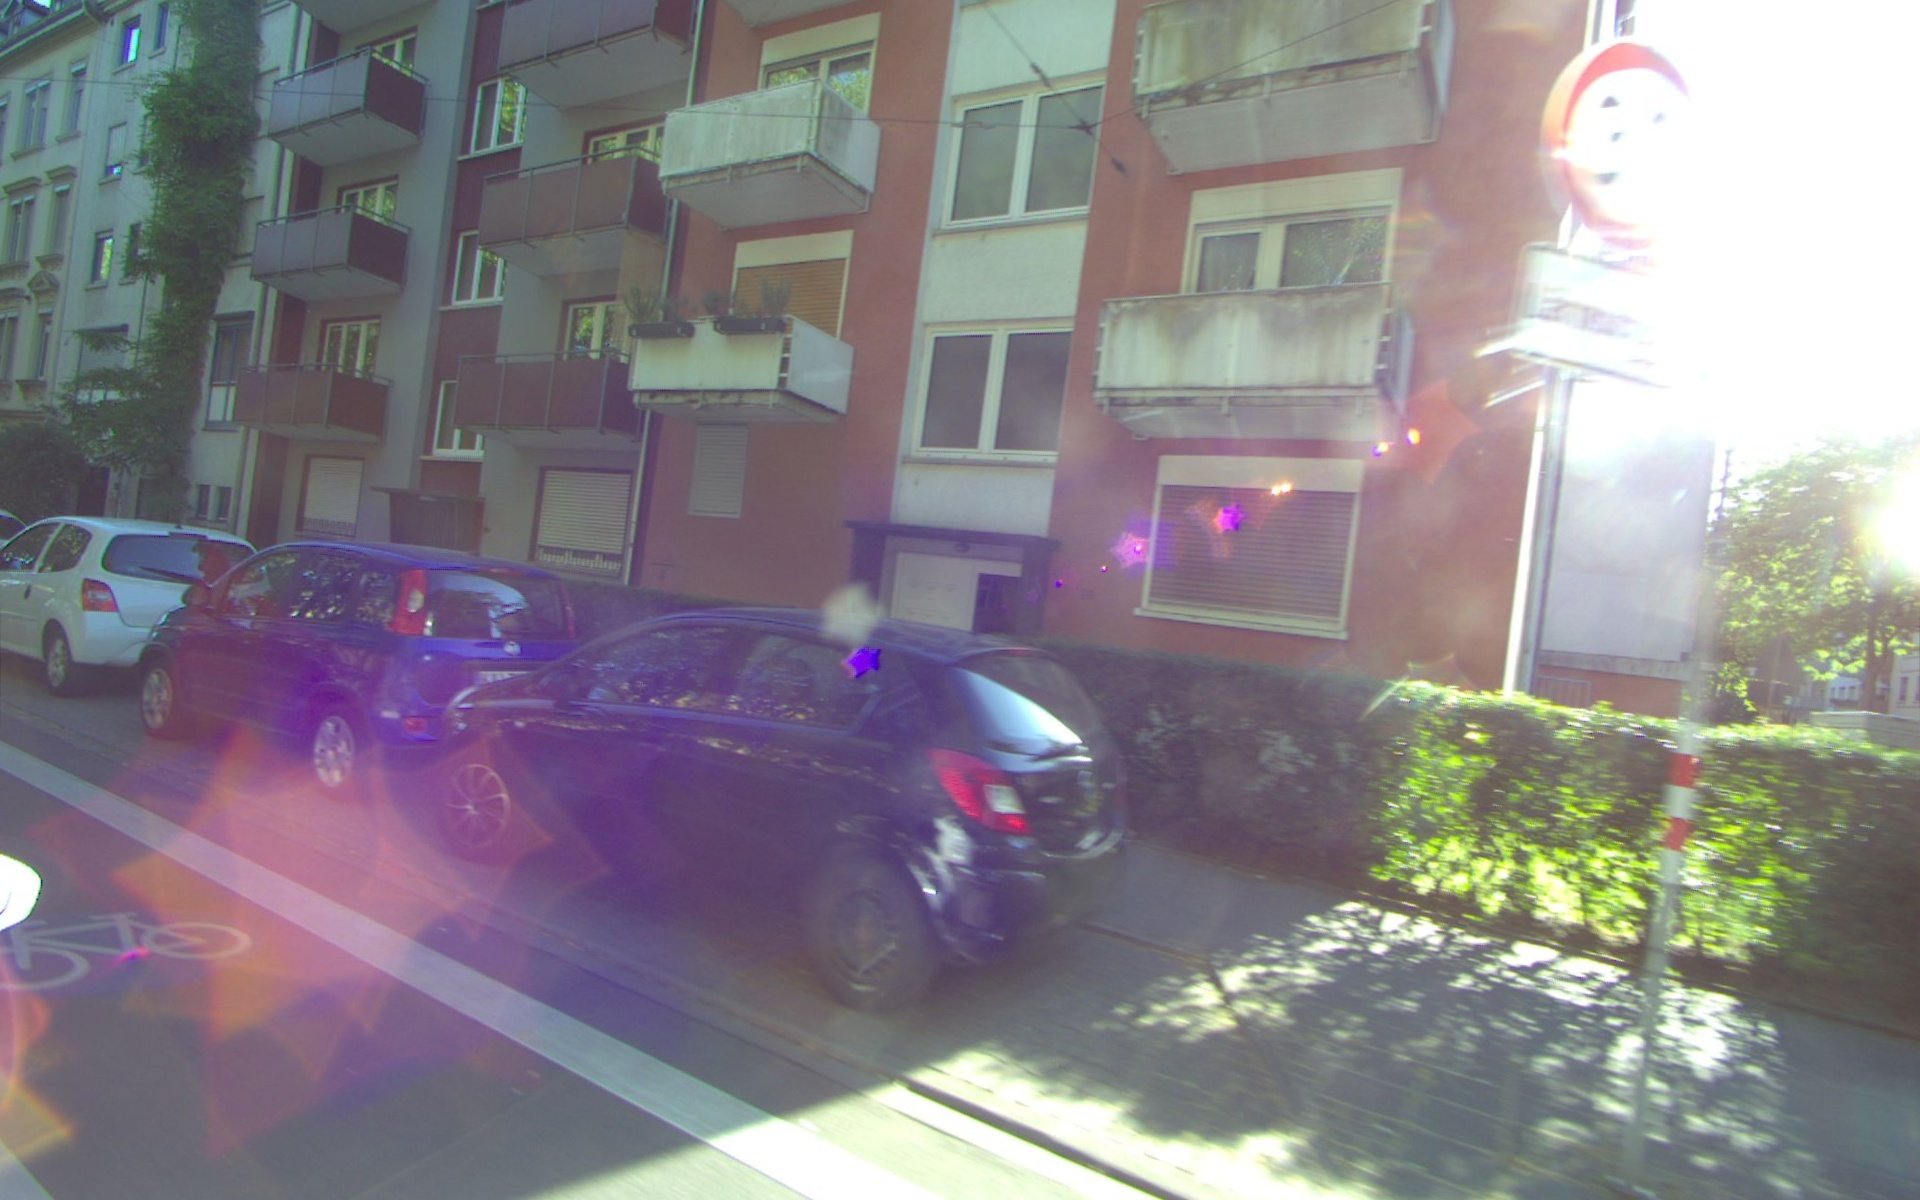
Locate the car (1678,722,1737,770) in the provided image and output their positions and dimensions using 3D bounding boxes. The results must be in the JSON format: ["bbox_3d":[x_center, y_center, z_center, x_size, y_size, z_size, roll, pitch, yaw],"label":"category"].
[{"bbox_3d":[28.328,5.484,38.187,1.413,1.506,3.385,7,-2,33],"label":"car"}]

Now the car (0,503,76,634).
[{"bbox_3d":[-12.847,-0.591,12.323,4.661,1.417,1.661,7,0,31],"label":"car"}]

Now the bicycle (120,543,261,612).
[{"bbox_3d":[-13.752,-0.377,18.039,0.469,1.042,1.893,7,0,36],"label":"bicycle"}]

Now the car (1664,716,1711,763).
[{"bbox_3d":[34.154,6.507,47.285,1.413,1.895,3.385,7,-2,33],"label":"car"}]

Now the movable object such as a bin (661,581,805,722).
[{"bbox_3d":[-2.397,0.564,10.717,0.762,1.342,1.155,6,-2,32],"label":"movable object such as a bin"}]

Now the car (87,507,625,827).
[{"bbox_3d":[-4.350,0.365,7.133,3.689,1.608,1.530,6,-3,30],"label":"car"}]

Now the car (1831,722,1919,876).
[{"bbox_3d":[13.504,2.737,13.403,1.973,1.814,4.728,10,0,33],"label":"car"}]

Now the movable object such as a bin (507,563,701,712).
[{"bbox_3d":[-3.820,0.396,10.790,1.693,1.342,0.969,6,-2,32],"label":"movable object such as a bin"}]

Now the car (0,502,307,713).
[{"bbox_3d":[-7.930,-0.023,9.360,3.772,1.546,1.593,6,0,32],"label":"car"}]

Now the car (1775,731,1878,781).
[{"bbox_3d":[45.413,8.156,52.803,3.724,1.936,1.663,6,-3,32],"label":"car"}]

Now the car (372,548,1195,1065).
[{"bbox_3d":[-1.016,0.705,5.145,3.851,1.480,1.735,7,0,31],"label":"car"}]

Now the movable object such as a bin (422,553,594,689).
[{"bbox_3d":[-5.272,0.243,11.723,1.654,1.342,0.925,6,-2,32],"label":"movable object such as a bin"}]
